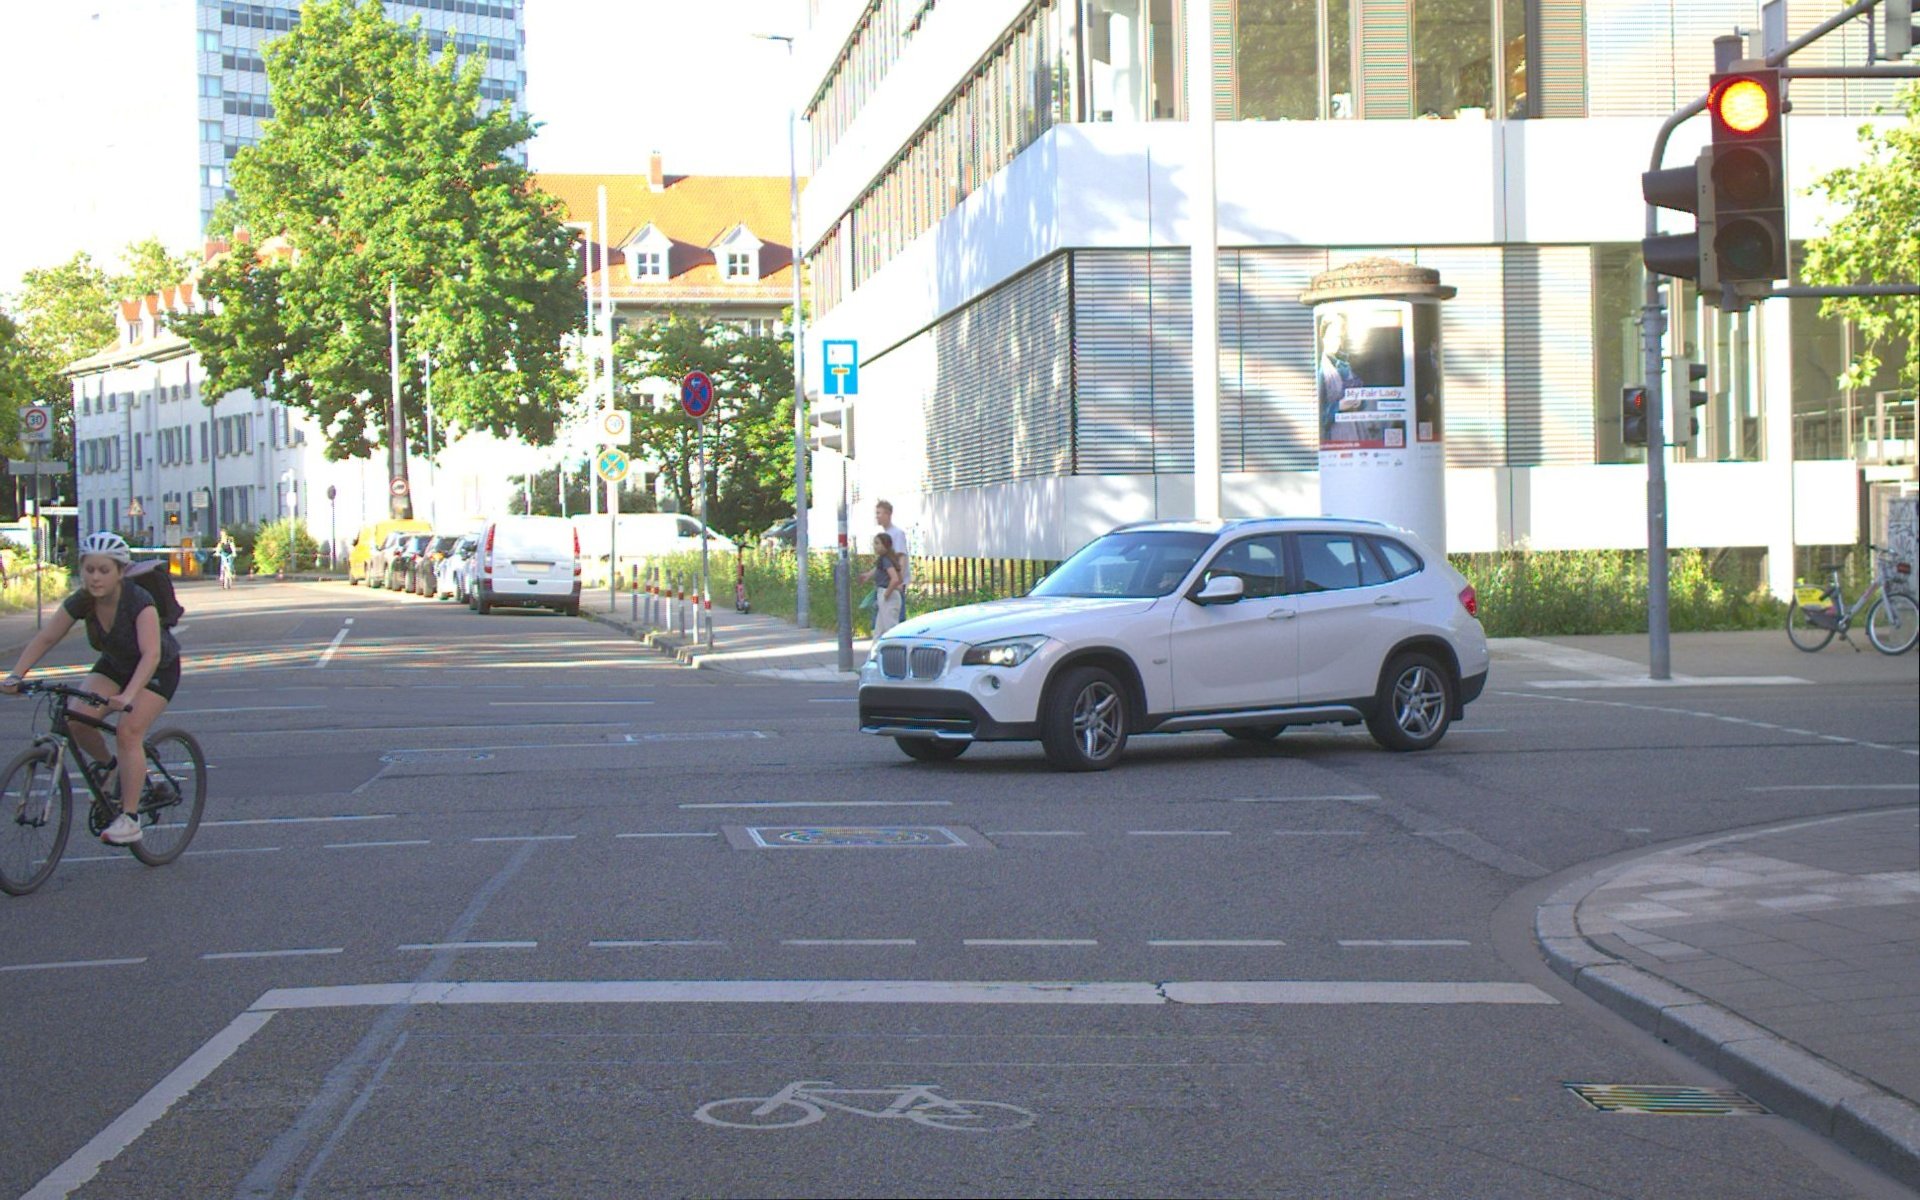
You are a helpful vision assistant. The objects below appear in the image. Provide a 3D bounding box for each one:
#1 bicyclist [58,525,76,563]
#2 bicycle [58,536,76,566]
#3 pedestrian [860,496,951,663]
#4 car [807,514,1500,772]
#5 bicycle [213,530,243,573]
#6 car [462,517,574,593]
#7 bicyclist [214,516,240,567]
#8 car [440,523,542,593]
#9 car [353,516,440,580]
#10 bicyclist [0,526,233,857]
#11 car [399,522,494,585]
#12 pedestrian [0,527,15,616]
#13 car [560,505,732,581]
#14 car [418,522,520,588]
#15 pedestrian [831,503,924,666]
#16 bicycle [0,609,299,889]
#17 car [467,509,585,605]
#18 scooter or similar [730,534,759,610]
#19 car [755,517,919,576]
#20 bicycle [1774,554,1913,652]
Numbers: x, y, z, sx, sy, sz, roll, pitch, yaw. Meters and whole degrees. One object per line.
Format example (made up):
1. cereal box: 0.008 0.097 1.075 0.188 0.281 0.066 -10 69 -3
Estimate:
1. bicyclist: -34.490 -2.168 132.751 0.615 1.467 0.741 -1 1 -13
2. bicycle: -34.460 -1.896 132.693 0.615 1.148 1.970 -1 1 -13
3. pedestrian: -0.596 -0.226 37.453 0.766 1.789 0.647 1 0 24
4. car: 1.309 0.209 22.197 4.356 1.509 1.718 -1 2 -36
5. bicycle: -20.227 -1.348 94.999 0.590 1.148 1.970 -1 1 -6
6. car: -9.171 -0.929 71.050 1.993 1.493 4.653 1 1 -11
7. bicyclist: -20.224 -1.625 94.842 0.590 1.392 0.748 -1 1 -6
8. car: -10.504 -0.929 76.822 1.993 1.493 4.653 1 1 -11
9. car: -15.738 -1.446 95.849 1.993 1.719 4.653 1 1 -14
10. bicyclist: -3.875 0.394 15.616 0.626 1.441 0.973 0 1 27
11. car: -12.879 -1.158 85.993 1.993 1.493 4.653 1 1 -13
12. pedestrian: -17.206 -0.516 61.211 0.699 1.581 0.637 1 0 -16
13. car: -9.402 -1.696 102.945 4.791 2.151 2.001 1 0 -17
14. car: -11.626 -1.055 81.269 1.993 1.493 4.288 1 1 -13
15. pedestrian: -0.878 -0.165 36.652 0.766 1.713 0.647 1 0 24
16. bicycle: -3.832 0.643 15.687 0.626 1.148 1.781 0 1 27
17. car: -8.220 -0.811 64.836 1.993 1.719 4.653 1 1 -10
18. scooter or similar: -3.659 -0.485 58.305 0.437 1.252 1.420 -1 1 -4
19. car: -3.754 -1.623 104.788 4.635 1.719 2.001 1 0 -16
20. bicycle: 9.284 0.026 36.161 0.378 1.005 1.432 -2 2 -42
